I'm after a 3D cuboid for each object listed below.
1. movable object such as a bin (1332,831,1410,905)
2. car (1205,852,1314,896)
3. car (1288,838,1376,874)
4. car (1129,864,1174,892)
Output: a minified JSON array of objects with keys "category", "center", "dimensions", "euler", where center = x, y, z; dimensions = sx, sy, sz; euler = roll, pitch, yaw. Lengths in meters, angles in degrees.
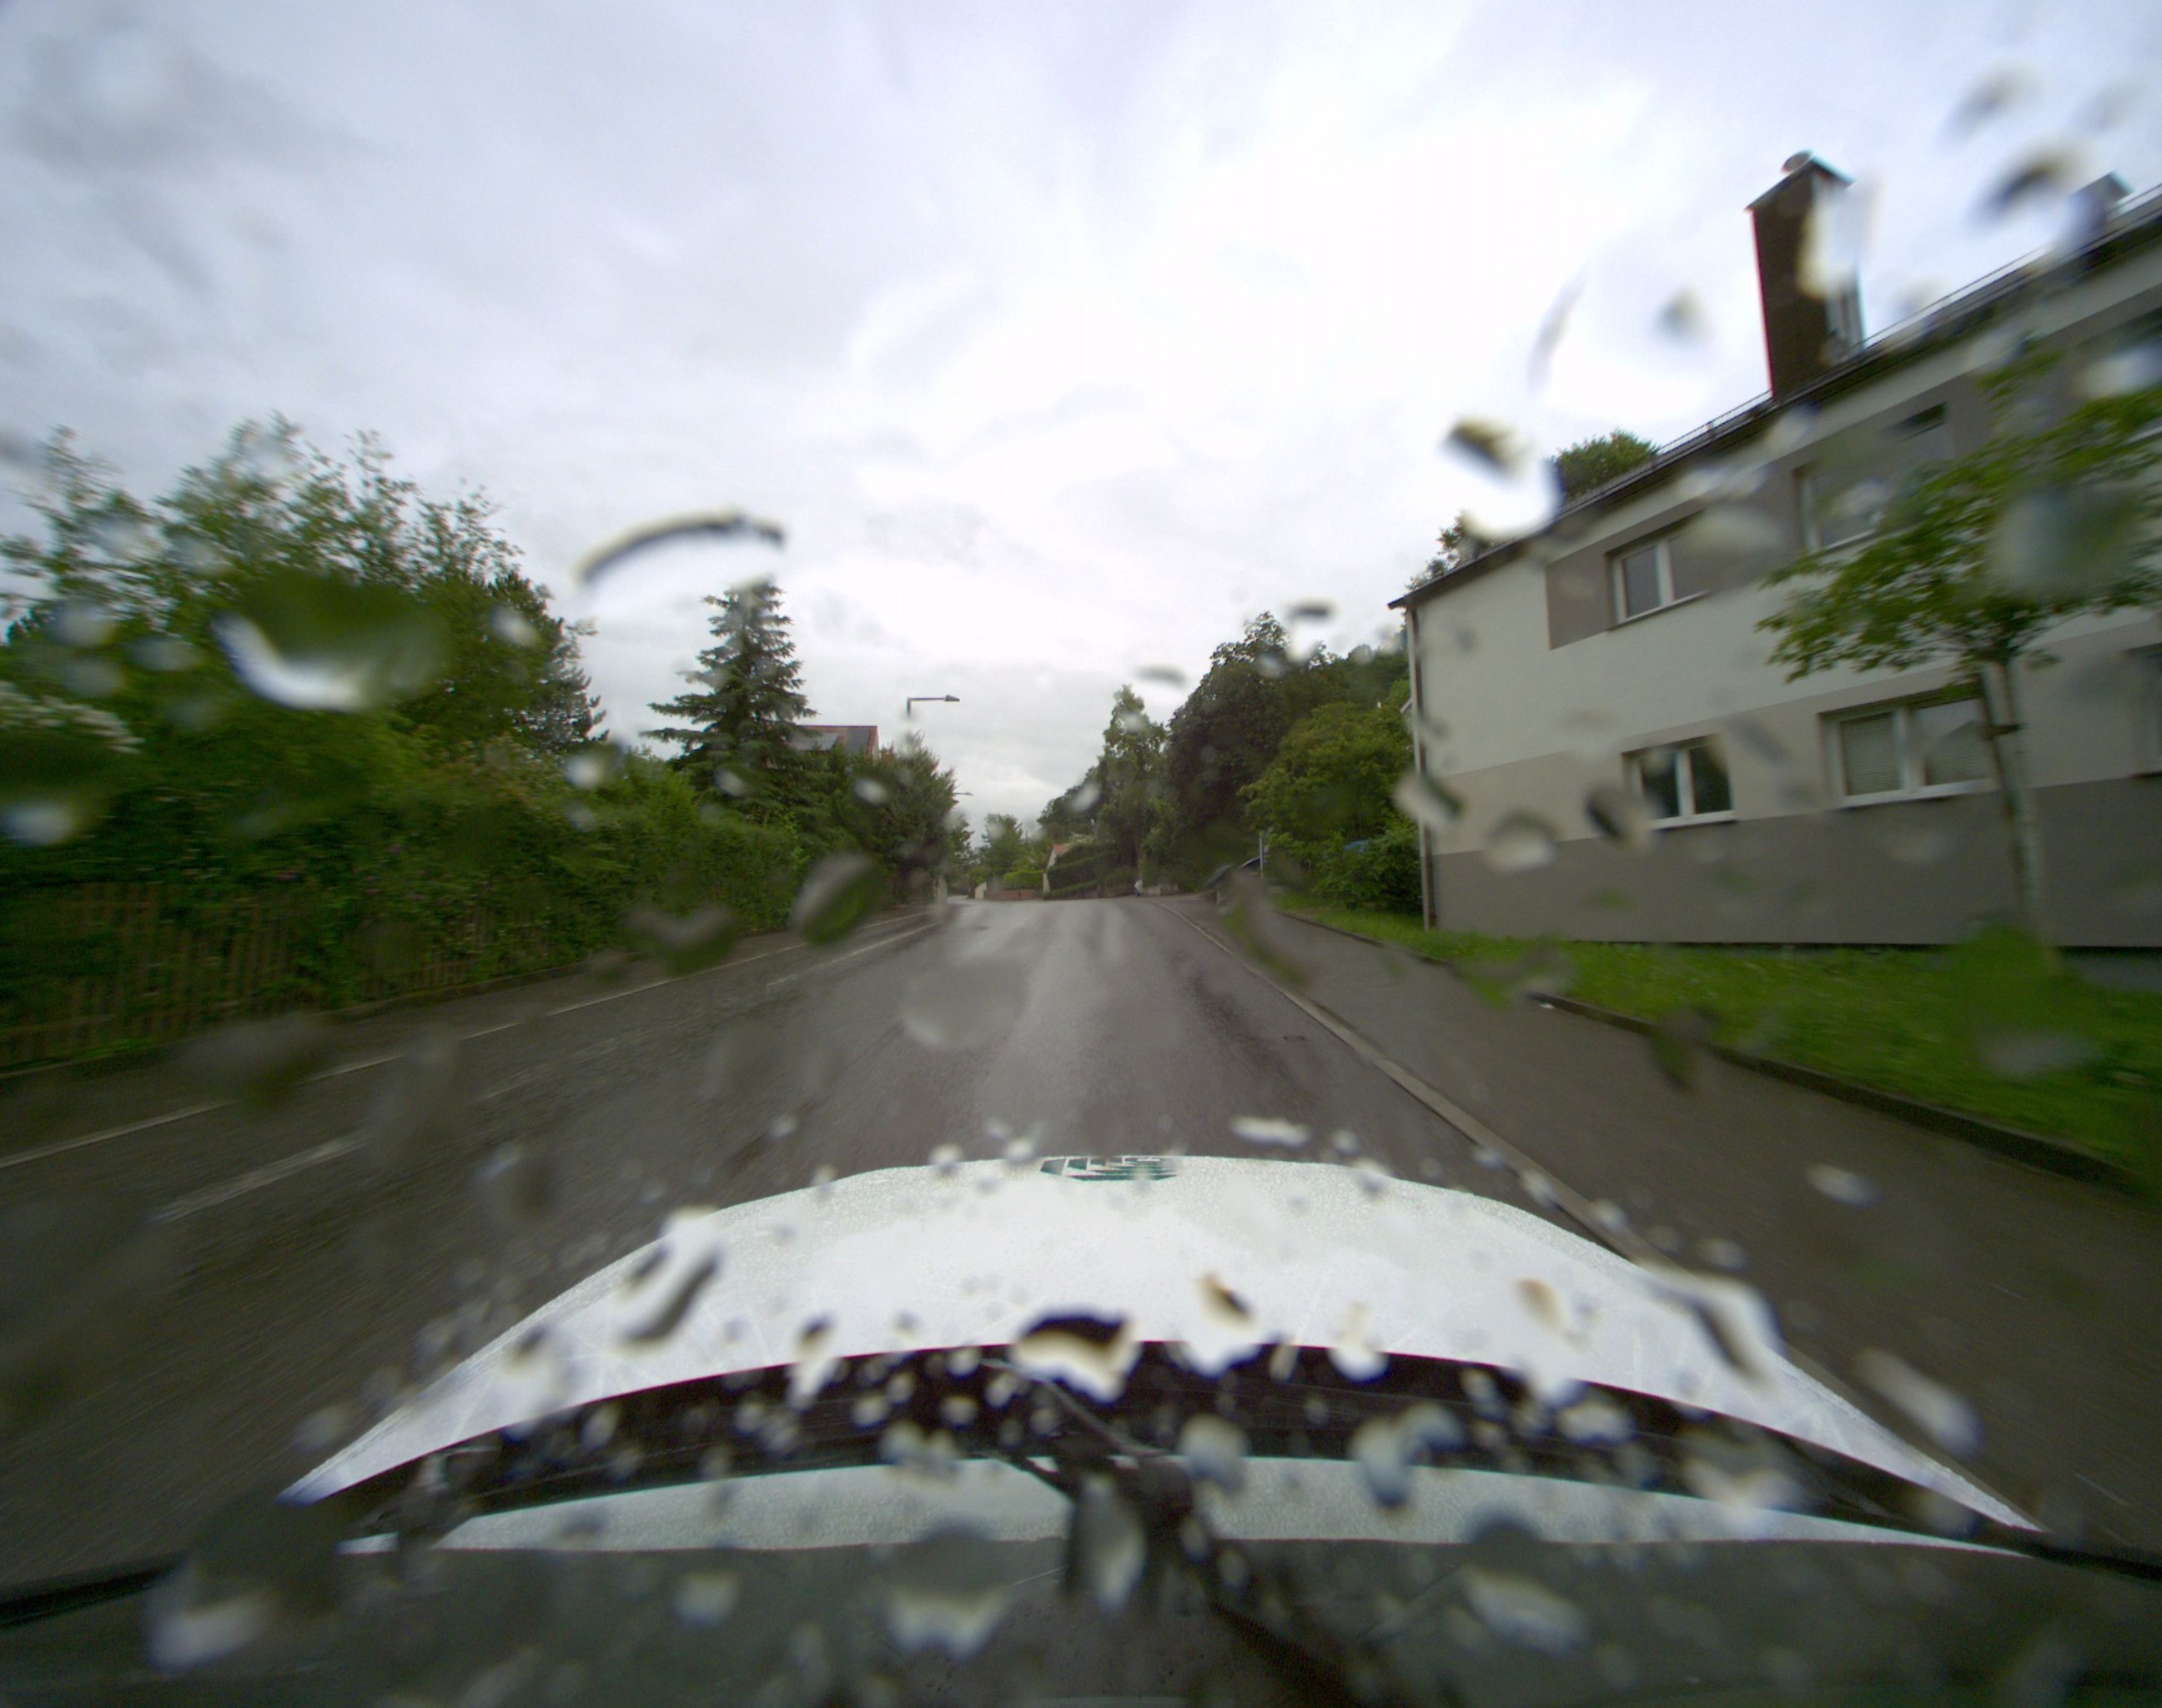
[{"category":"movable object such as a bin","center":[6.242,0.294,17.530],"dimensions":[1.249,1.497,0.973],"euler":[-2,-1,-33]},{"category":"car","center":[7.425,0.856,33.899],"dimensions":[4.301,1.717,1.734],"euler":[0,-3,13]},{"category":"car","center":[13.480,0.092,43.742],"dimensions":[4.283,1.633,1.715],"euler":[-3,-3,-23]},{"category":"car","center":[4.383,1.563,51.412],"dimensions":[1.534,1.535,3.826],"euler":[-6,-1,-14]}]
